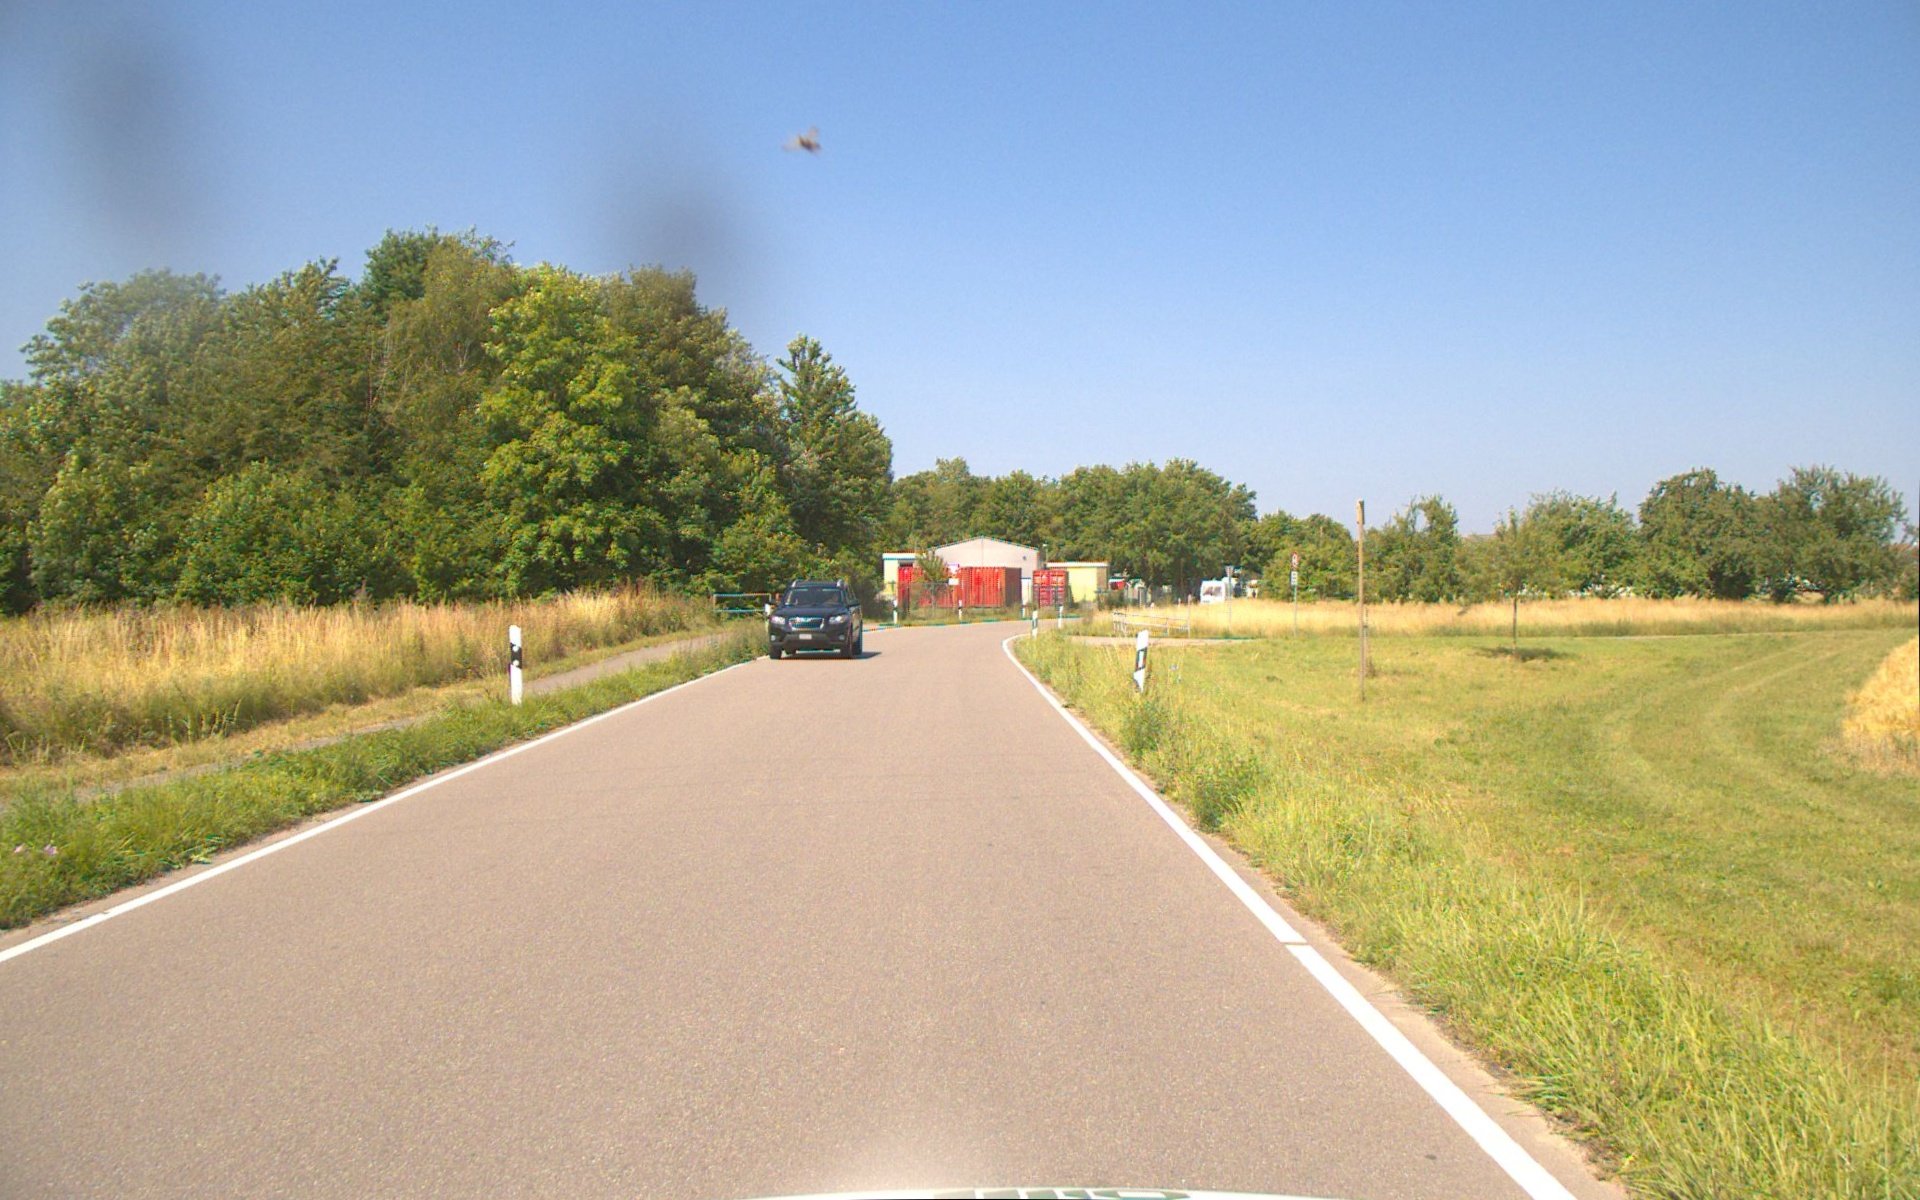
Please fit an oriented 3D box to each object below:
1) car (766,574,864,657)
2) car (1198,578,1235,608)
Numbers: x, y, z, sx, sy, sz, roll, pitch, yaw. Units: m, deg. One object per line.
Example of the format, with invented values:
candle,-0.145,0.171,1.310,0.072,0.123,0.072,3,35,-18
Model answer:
car,-3.310,0.324,38.481,1.827,1.783,4.297,-1,0,1
car,19.698,-0.554,126.749,1.952,2.306,4.727,0,0,20
